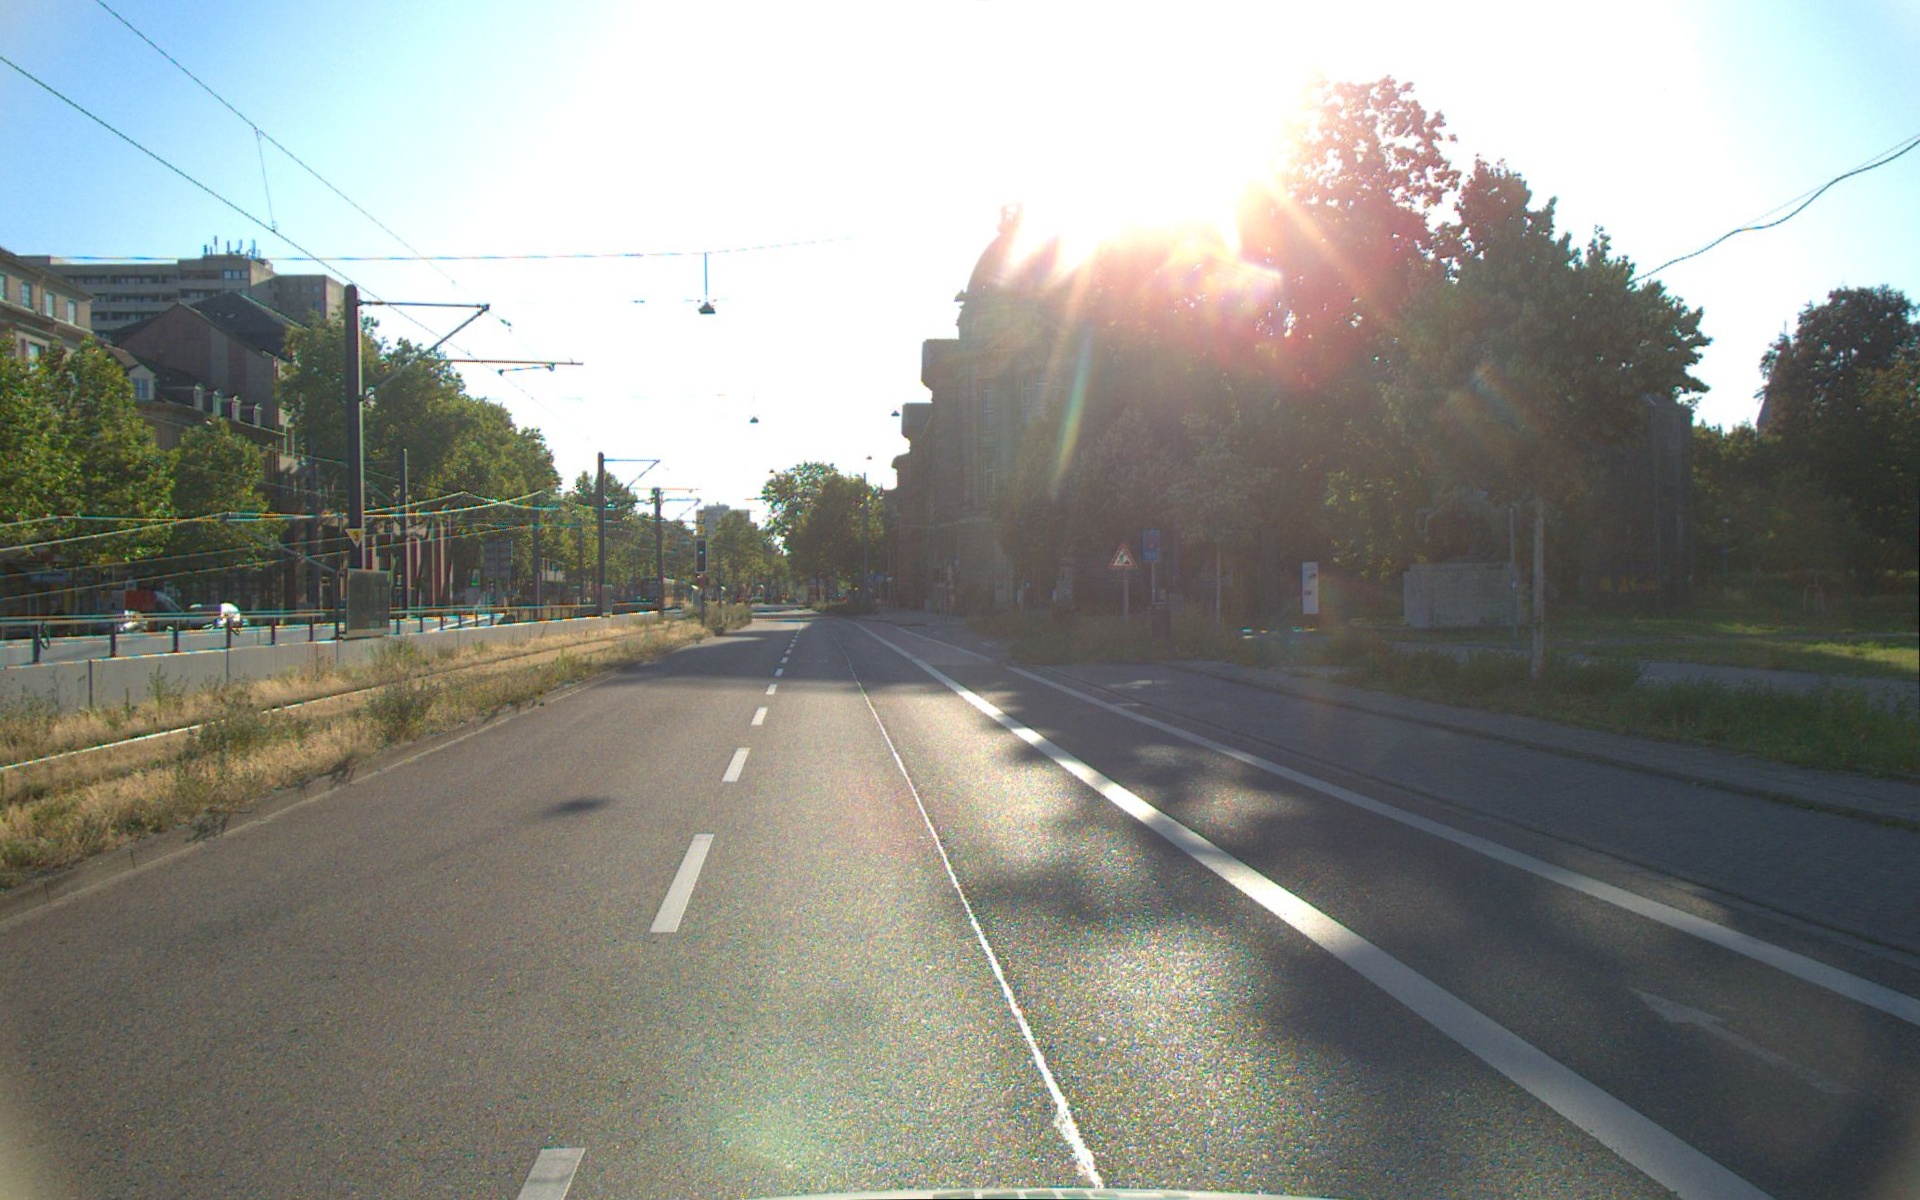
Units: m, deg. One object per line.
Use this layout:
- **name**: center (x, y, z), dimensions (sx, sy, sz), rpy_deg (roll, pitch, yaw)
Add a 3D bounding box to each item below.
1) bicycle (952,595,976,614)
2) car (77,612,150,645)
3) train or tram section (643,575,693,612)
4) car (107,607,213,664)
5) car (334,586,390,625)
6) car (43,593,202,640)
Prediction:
- **bicycle**: center (0.274, 0.288, 107.517), dimensions (0.848, 1.217, 2.240), rpy_deg (-1, 0, 18)
- **car**: center (-36.790, 1.236, 71.991), dimensions (1.425, 1.355, 3.707), rpy_deg (1, -1, -3)
- **train or tram section**: center (-31.094, -0.676, 176.638), dimensions (3.050, 3.621, 17.467), rpy_deg (-1, 0, -3)
- **car**: center (-28.218, 1.216, 58.527), dimensions (1.956, 1.851, 4.969), rpy_deg (-1, 0, -9)
- **car**: center (-34.943, 0.292, 96.778), dimensions (1.914, 2.171, 4.568), rpy_deg (-1, 0, -5)
- **car**: center (-44.800, 0.871, 88.690), dimensions (7.135, 2.306, 2.464), rpy_deg (-1, 0, -10)
